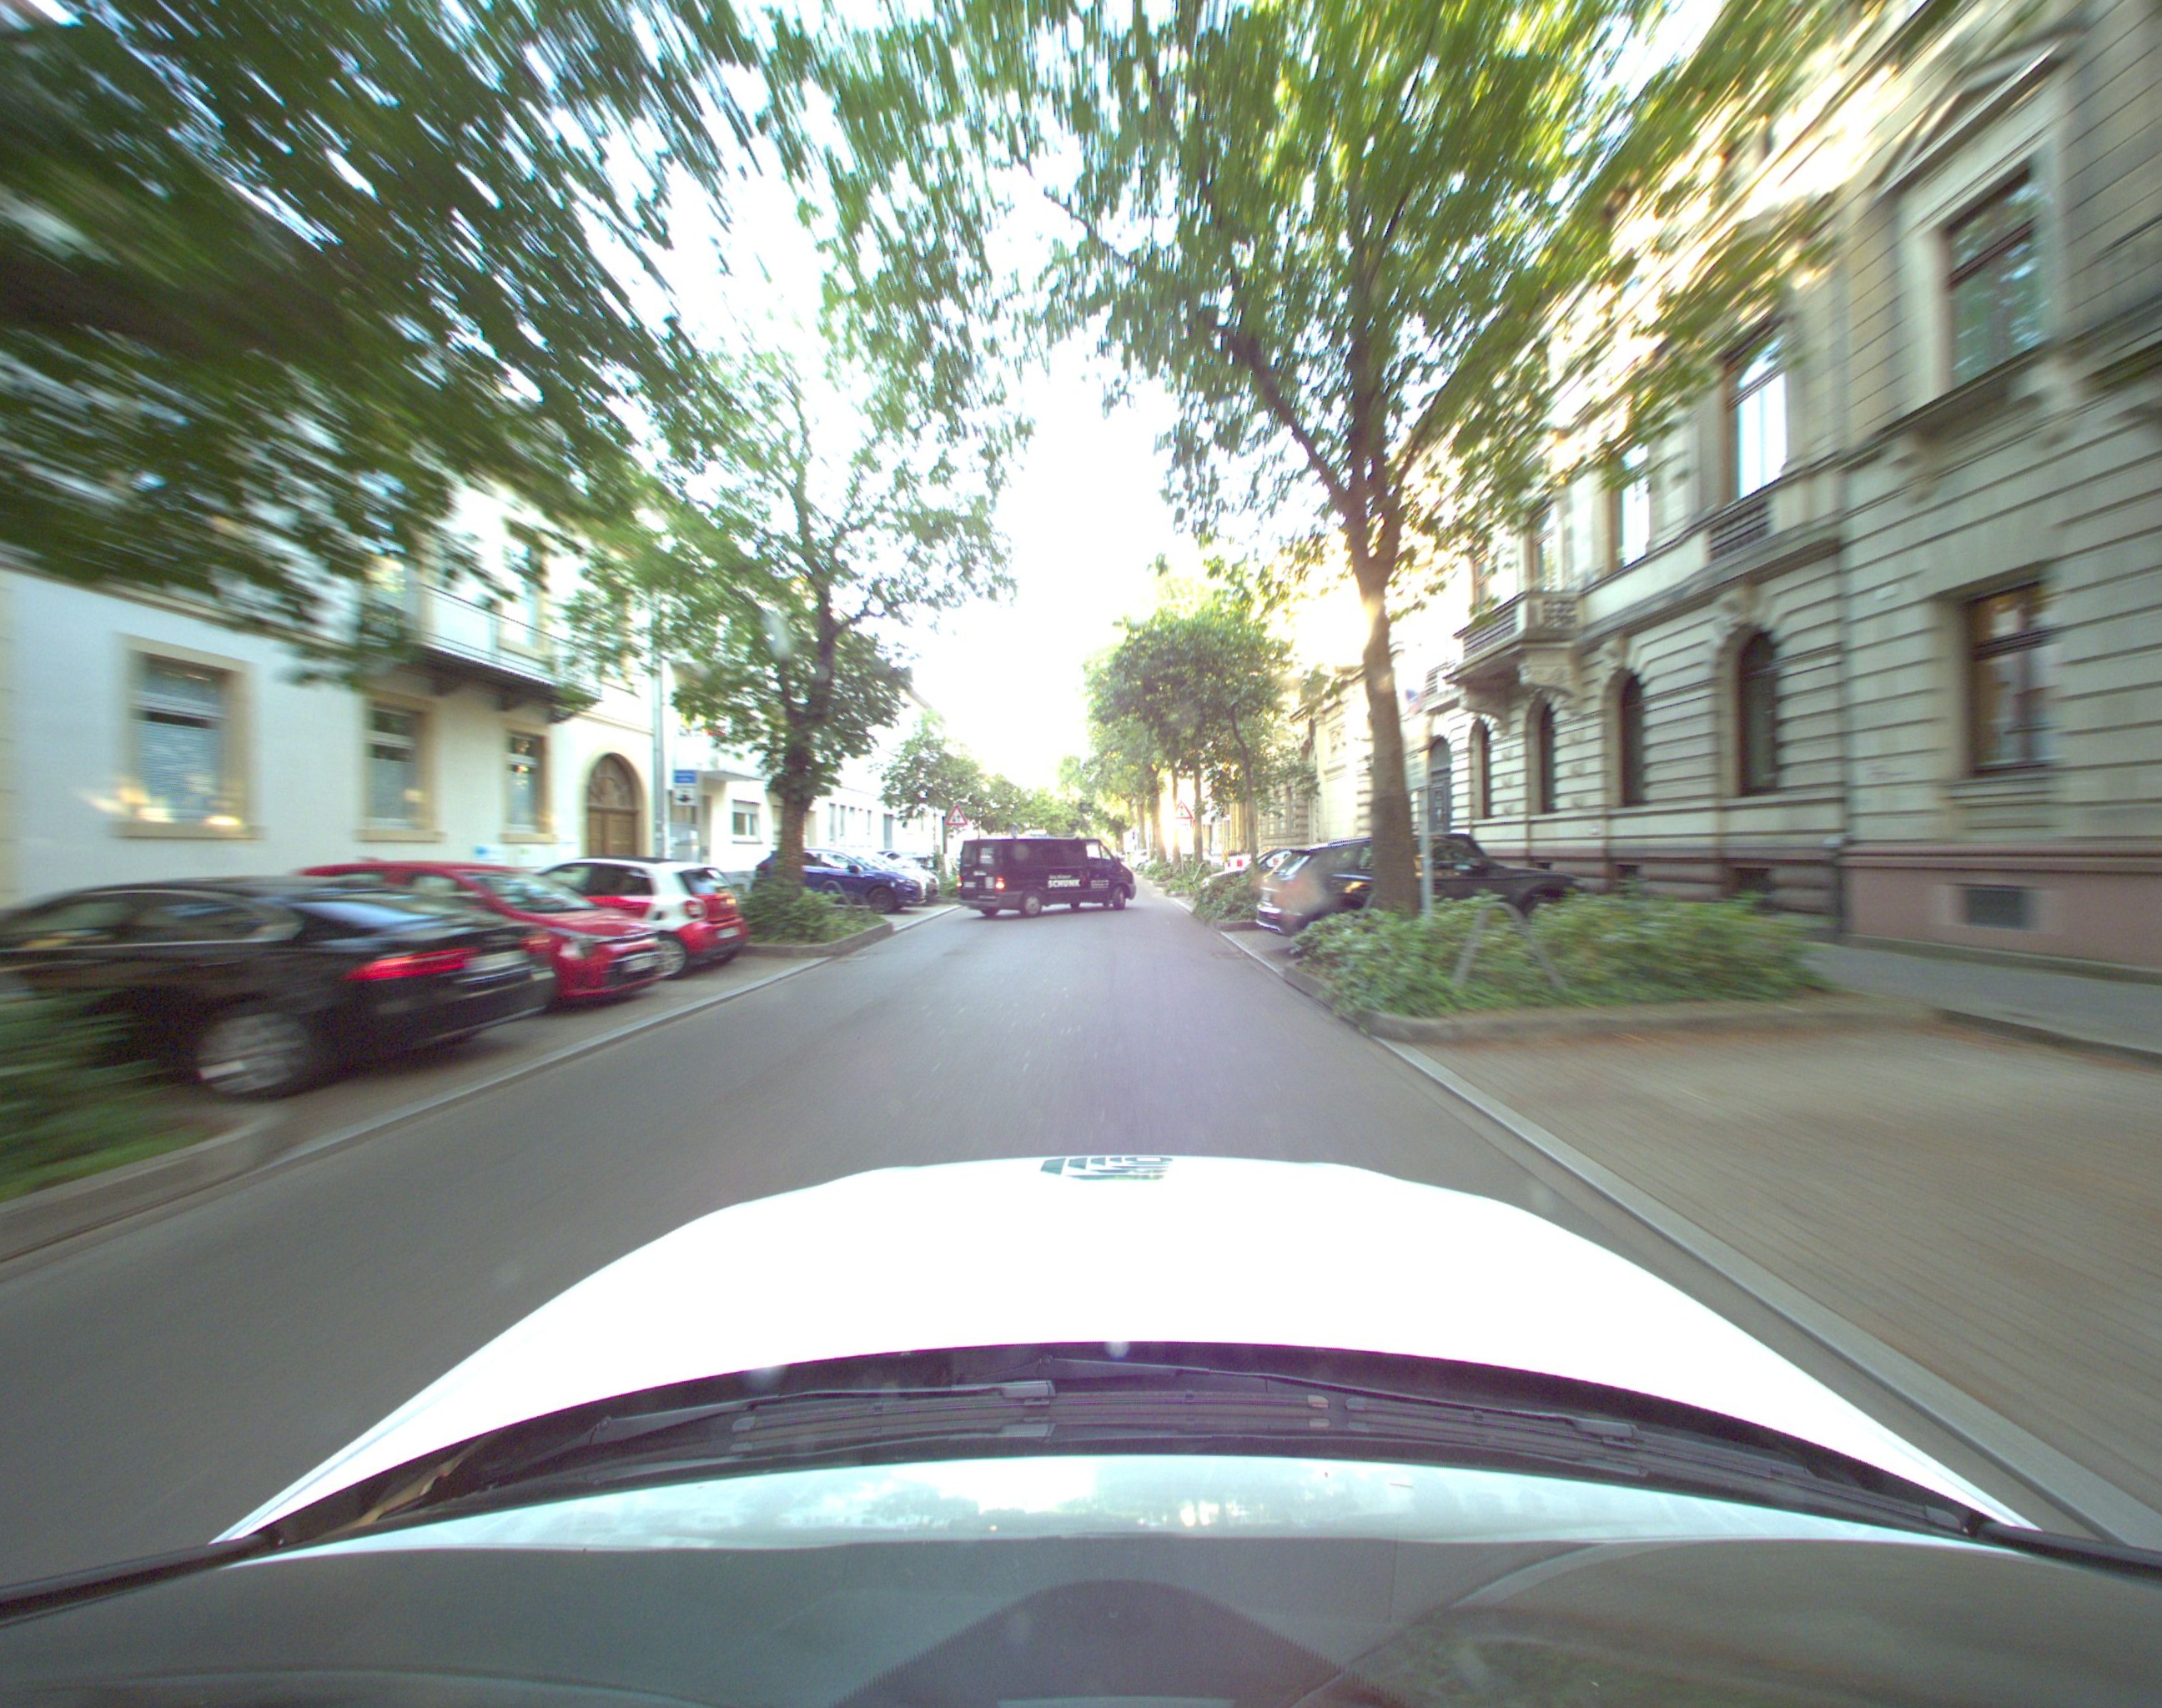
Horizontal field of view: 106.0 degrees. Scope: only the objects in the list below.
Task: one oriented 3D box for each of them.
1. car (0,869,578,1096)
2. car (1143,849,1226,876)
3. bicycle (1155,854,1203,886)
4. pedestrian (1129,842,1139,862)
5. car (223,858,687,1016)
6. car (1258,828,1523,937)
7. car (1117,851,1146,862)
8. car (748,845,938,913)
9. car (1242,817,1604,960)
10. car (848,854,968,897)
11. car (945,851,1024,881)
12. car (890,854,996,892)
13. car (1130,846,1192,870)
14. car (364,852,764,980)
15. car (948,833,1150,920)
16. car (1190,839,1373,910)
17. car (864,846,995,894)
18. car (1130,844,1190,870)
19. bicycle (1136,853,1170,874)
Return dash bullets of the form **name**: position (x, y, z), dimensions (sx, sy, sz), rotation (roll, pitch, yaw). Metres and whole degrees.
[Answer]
- **car**: position (-6.513, 0.837, 6.021), dimensions (4.413, 1.407, 1.716), rotation (1, -1, -3)
- **car**: position (5.917, 0.477, 46.960), dimensions (4.564, 1.437, 1.927), rotation (-2, 0, 3)
- **bicycle**: position (4.281, 0.689, 35.619), dimensions (2.040, 1.360, 0.508), rotation (0, 0, -1)
- **pedestrian**: position (5.669, -0.205, 86.844), dimensions (1.039, 2.146, 1.064), rotation (0, -1, 1)
- **car**: position (-6.496, 0.810, 8.756), dimensions (3.671, 1.449, 1.659), rotation (1, 0, 1)
- **car**: position (5.314, 0.469, 14.377), dimensions (3.993, 1.687, 1.765), rotation (-2, 0, 1)
- **car**: position (7.639, 0.386, 123.437), dimensions (4.178, 1.480, 1.852), rotation (-3, 0, 1)
- **car**: position (-6.151, 0.627, 21.413), dimensions (4.339, 1.573, 1.931), rotation (2, 0, 1)
- **car**: position (4.769, 0.474, 11.907), dimensions (4.424, 1.718, 1.968), rotation (-3, -1, 1)
- **car**: position (-6.087, 0.748, 29.011), dimensions (3.831, 1.450, 1.855), rotation (0, 1, 1)
- **car**: position (-5.288, 0.647, 45.221), dimensions (4.077, 1.632, 1.937), rotation (0, 0, 2)
- **car**: position (-5.734, 0.779, 34.053), dimensions (4.010, 1.494, 1.782), rotation (1, 0, 4)
- **car**: position (5.593, 0.268, 57.245), dimensions (4.205, 1.560, 1.973), rotation (-2, 0, 4)
- **car**: position (-6.932, 0.805, 11.268), dimensions (4.339, 1.539, 1.772), rotation (1, -1, 1)
- **car**: position (-0.727, 0.471, 21.287), dimensions (5.034, 1.990, 2.163), rotation (-2, 1, -41)
- **car**: position (5.061, 0.499, 20.970), dimensions (4.209, 1.481, 1.855), rotation (-4, 0, 1)
- **car**: position (-5.788, 0.599, 31.645), dimensions (4.650, 1.765, 2.157), rotation (0, 0, 0)
- **car**: position (6.260, 0.214, 64.852), dimensions (4.527, 1.914, 1.949), rotation (-2, 0, -2)
- **bicycle**: position (4.645, 0.624, 52.496), dimensions (2.021, 1.204, 0.486), rotation (-3, 0, -12)
